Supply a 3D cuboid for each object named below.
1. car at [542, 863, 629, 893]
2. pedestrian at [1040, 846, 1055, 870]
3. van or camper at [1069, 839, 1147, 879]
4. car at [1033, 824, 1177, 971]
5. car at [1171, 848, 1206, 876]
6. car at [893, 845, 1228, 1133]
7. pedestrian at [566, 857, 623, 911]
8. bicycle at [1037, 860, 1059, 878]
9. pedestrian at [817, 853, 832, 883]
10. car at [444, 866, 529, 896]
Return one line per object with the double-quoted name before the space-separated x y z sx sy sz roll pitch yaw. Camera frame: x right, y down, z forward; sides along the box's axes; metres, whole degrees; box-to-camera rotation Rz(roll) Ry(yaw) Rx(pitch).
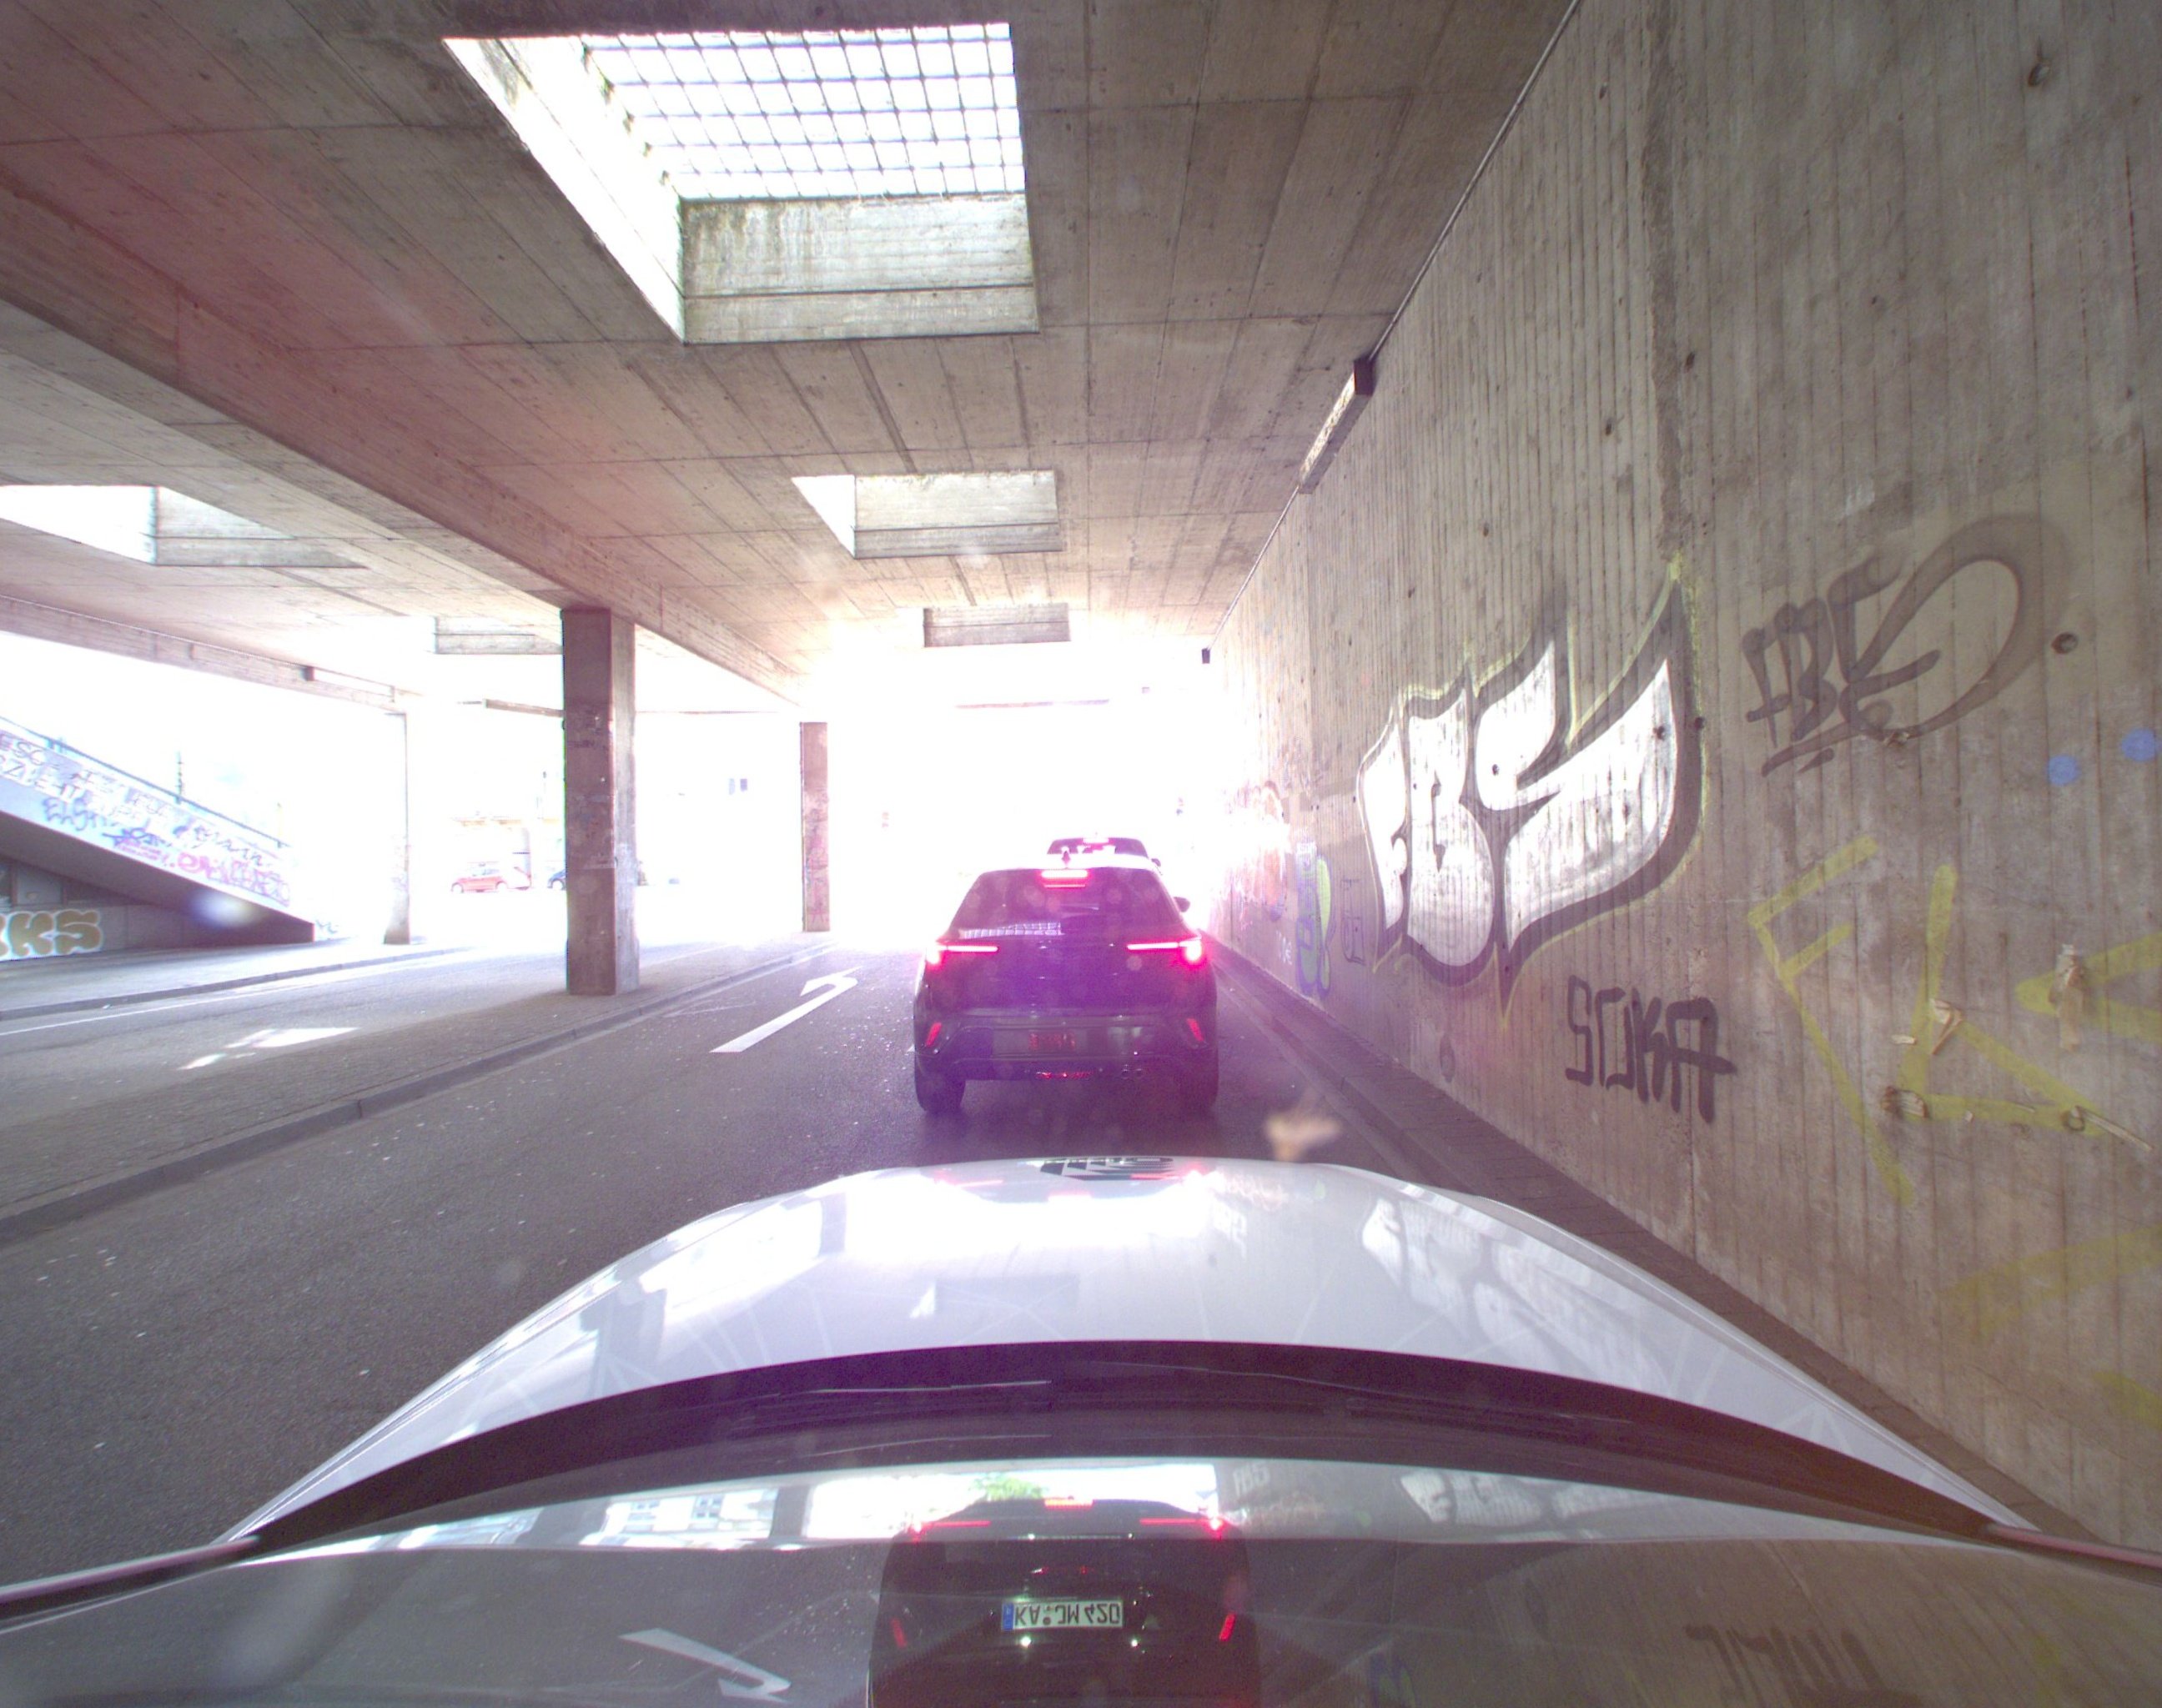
"car" -27.499 1.312 45.272 3.742 1.508 1.752 -2 0 0
"pedestrian" -2.236 0.286 54.928 0.729 1.585 0.894 0 -1 18
"van or camper" 1.485 0.276 43.523 3.854 2.013 2.005 -2 0 9
"car" 0.367 0.544 12.189 1.779 1.833 3.962 -1 0 2
"car" 6.775 0.461 51.706 1.983 1.641 4.601 -2 1 6
"car" -0.032 0.707 6.268 1.746 1.498 4.002 0 0 2
"pedestrian" -16.116 0.987 27.011 1.103 1.737 1.146 -2 0 15
"bicycle" -2.207 1.000 54.999 0.730 1.130 2.036 -2 0 19
"pedestrian" -14.904 0.826 47.336 0.721 1.705 0.622 0 -1 -12
"car" -32.891 1.464 45.093 3.519 1.506 1.563 -2 0 2
